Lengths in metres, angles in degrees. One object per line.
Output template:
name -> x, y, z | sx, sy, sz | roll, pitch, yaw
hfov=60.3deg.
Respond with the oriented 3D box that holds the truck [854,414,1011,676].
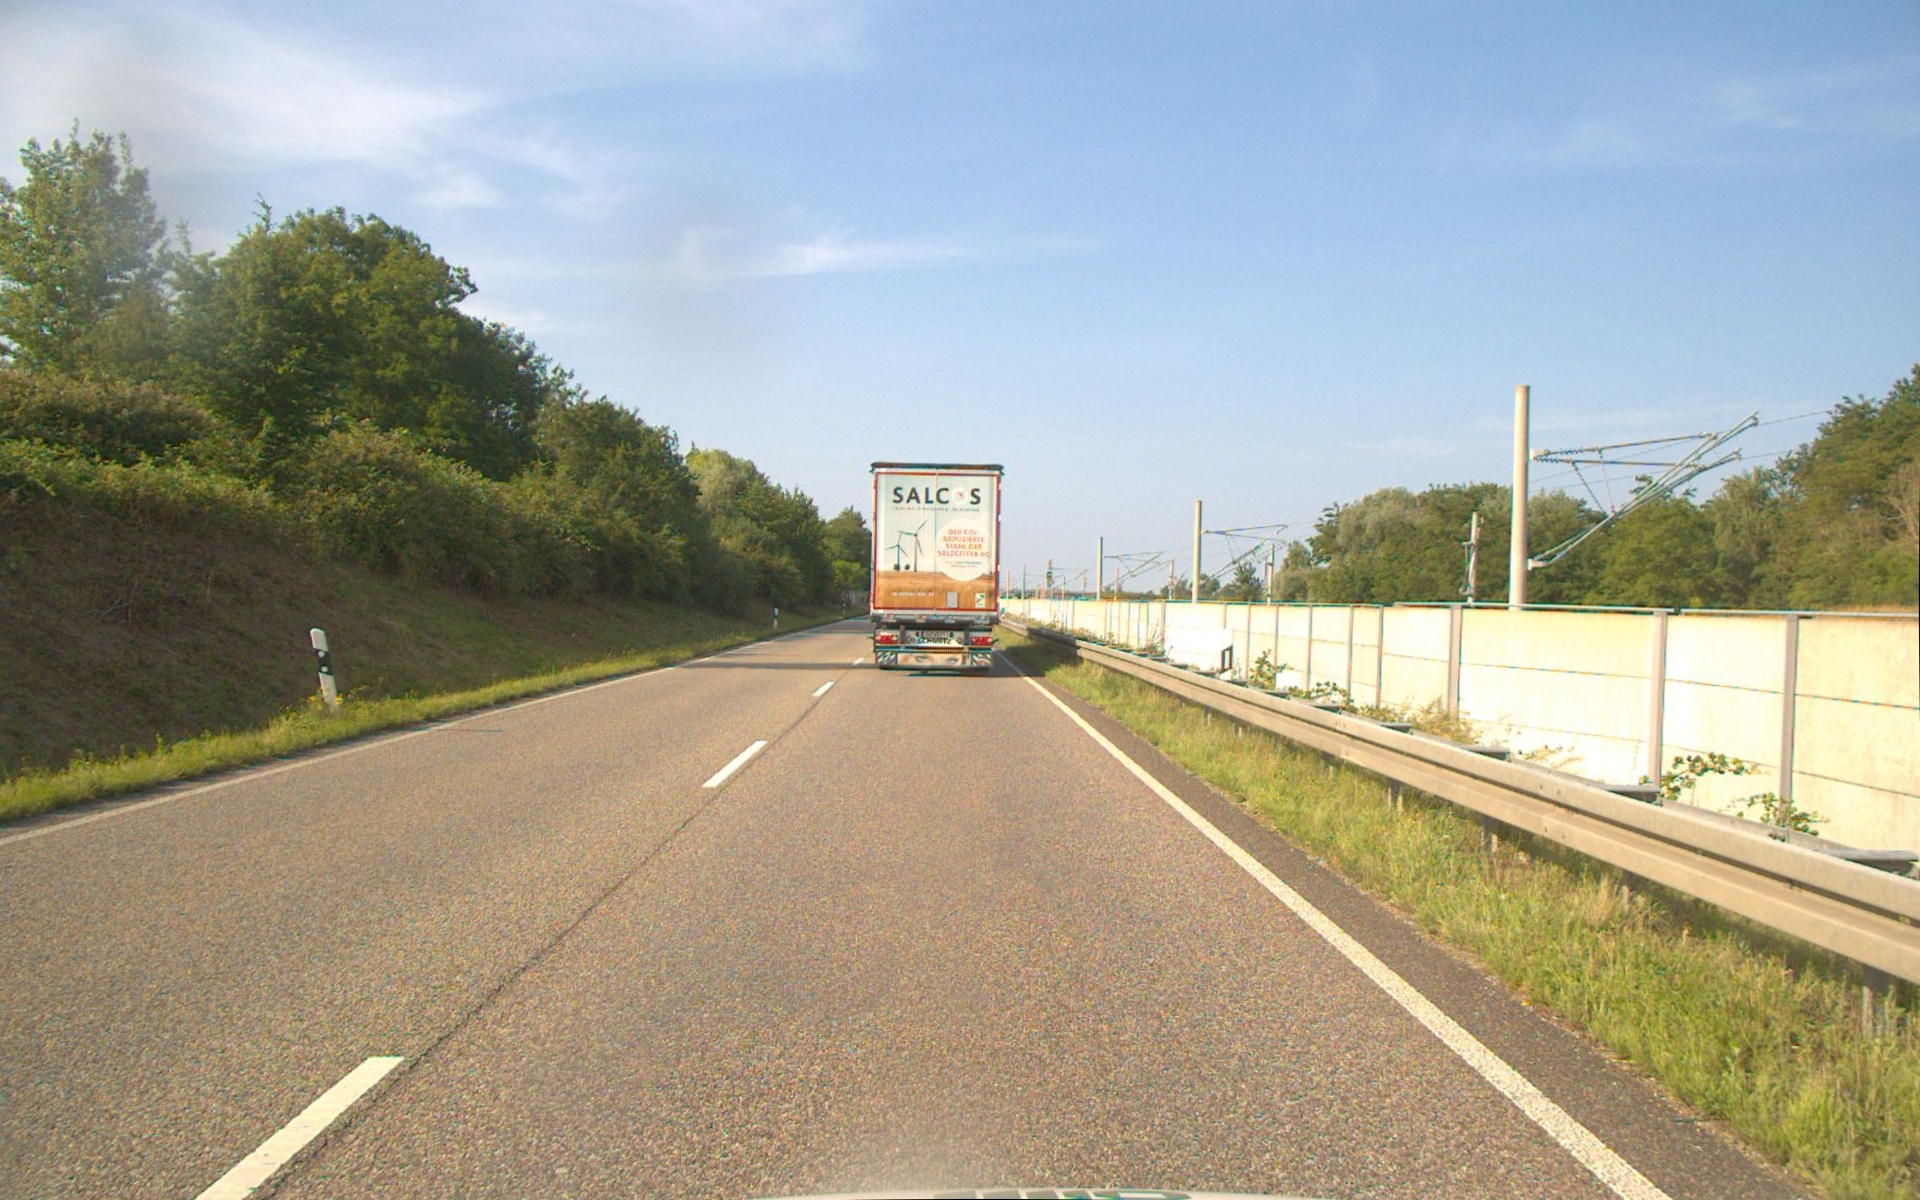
truck -> -0.727, -1.089, 37.707 | 2.972, 5.006, 11.679 | 1, 0, -2
